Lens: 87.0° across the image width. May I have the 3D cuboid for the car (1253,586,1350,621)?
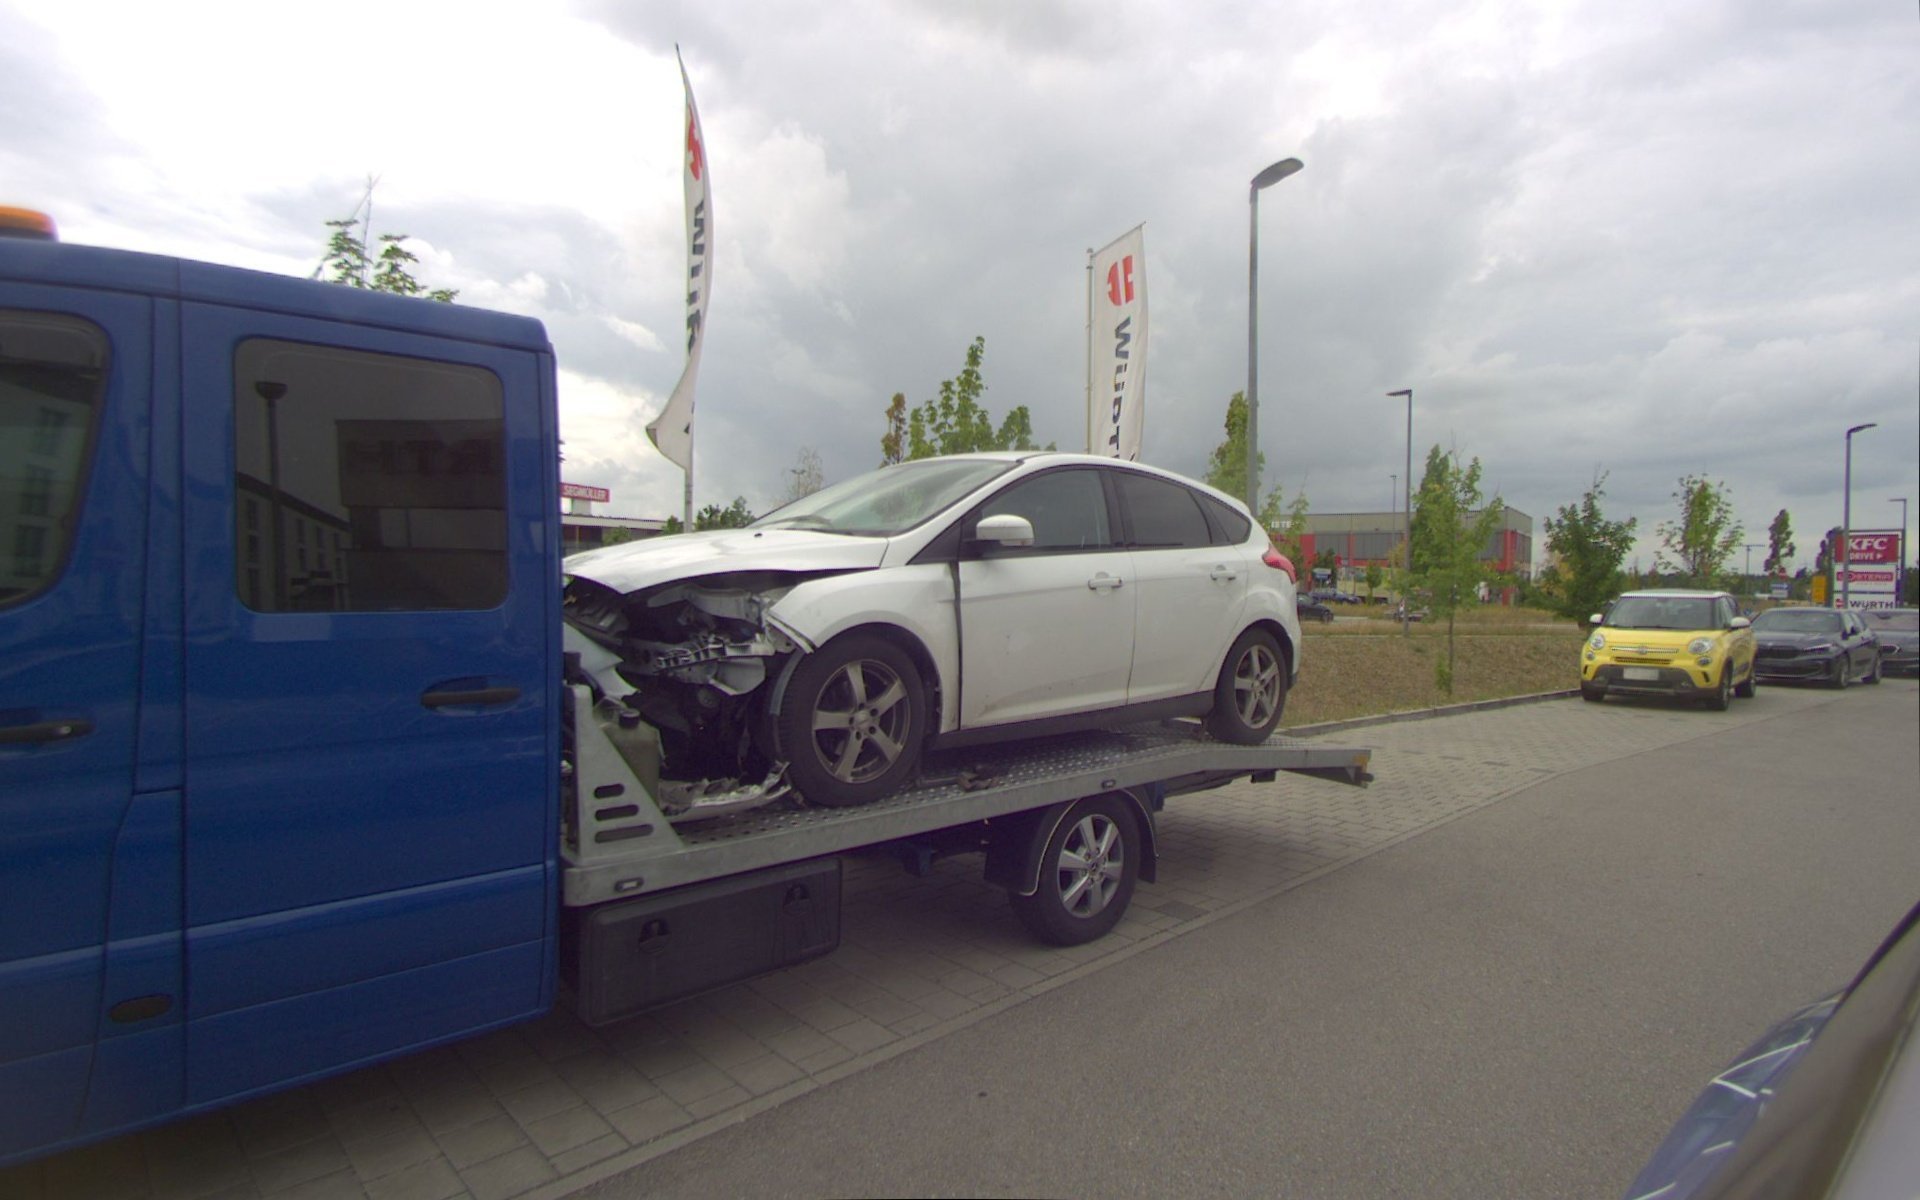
[{"bbox_3d":[14.667,0.161,43.469,3.922,1.415,1.910,1,1,-33],"label":"car"}]

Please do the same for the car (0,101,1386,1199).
[{"bbox_3d":[-1.259,0.161,3.988,7.719,2.351,2.198,0,2,-41],"label":"car"}]

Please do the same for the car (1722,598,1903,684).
[{"bbox_3d":[16.035,0.696,18.977,4.226,1.433,1.752,0,0,-38],"label":"car"}]

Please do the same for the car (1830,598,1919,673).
[{"bbox_3d":[21.197,0.734,22.545,4.546,1.509,1.753,0,0,-36],"label":"car"}]

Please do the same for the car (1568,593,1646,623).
[{"bbox_3d":[32.041,0.407,50.101,3.921,1.371,1.761,1,1,-32],"label":"car"}]

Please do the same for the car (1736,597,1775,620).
[{"bbox_3d":[68.844,0.737,87.575,3.930,1.837,1.905,1,1,-41],"label":"car"}]

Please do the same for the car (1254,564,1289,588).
[{"bbox_3d":[29.847,-2.281,96.822,2.012,2.232,4.296,2,2,34],"label":"car"}]

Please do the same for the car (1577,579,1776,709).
[{"bbox_3d":[11.023,0.570,15.451,4.227,1.704,1.749,0,0,-44],"label":"car"}]

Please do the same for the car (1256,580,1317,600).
[{"bbox_3d":[24.809,-0.769,76.895,1.964,1.460,3.997,0,1,-38],"label":"car"}]

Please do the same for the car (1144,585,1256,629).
[{"bbox_3d":[9.448,0.280,39.714,4.253,1.588,1.910,1,1,-35],"label":"car"}]

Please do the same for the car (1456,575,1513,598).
[{"bbox_3d":[48.552,-1.262,93.666,4.414,2.149,1.973,1,0,38],"label":"car"}]

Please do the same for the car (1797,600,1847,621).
[{"bbox_3d":[67.102,0.818,78.782,4.287,1.534,2.000,1,1,-36],"label":"car"}]

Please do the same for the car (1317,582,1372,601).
[{"bbox_3d":[30.789,-0.711,81.056,3.825,1.445,1.717,2,1,40],"label":"car"}]

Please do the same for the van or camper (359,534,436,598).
[{"bbox_3d":[-23.742,-1.414,42.670,2.248,2.523,3.998,1,1,-38],"label":"van or camper"}]

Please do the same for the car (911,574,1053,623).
[{"bbox_3d":[0.809,-0.059,34.310,4.797,1.527,1.809,0,1,-40],"label":"car"}]

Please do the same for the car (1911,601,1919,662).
[{"bbox_3d":[25.790,0.796,25.536,4.402,1.509,1.753,0,0,-35],"label":"car"}]

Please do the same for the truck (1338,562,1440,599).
[{"bbox_3d":[36.905,-1.680,87.063,8.011,2.982,2.686,0,1,-14],"label":"truck"}]

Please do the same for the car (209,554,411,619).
[{"bbox_3d":[-16.226,-0.324,25.393,3.990,1.499,1.754,0,1,-45],"label":"car"}]

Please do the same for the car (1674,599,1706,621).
[{"bbox_3d":[59.968,0.811,83.151,1.990,1.697,3.945,2,1,38],"label":"car"}]

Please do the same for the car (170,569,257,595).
[{"bbox_3d":[-45.765,-1.095,62.068,1.991,1.527,3.943,2,2,40],"label":"car"}]

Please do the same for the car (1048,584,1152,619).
[{"bbox_3d":[5.871,0.030,42.275,4.290,1.413,1.790,0,1,-37],"label":"car"}]
